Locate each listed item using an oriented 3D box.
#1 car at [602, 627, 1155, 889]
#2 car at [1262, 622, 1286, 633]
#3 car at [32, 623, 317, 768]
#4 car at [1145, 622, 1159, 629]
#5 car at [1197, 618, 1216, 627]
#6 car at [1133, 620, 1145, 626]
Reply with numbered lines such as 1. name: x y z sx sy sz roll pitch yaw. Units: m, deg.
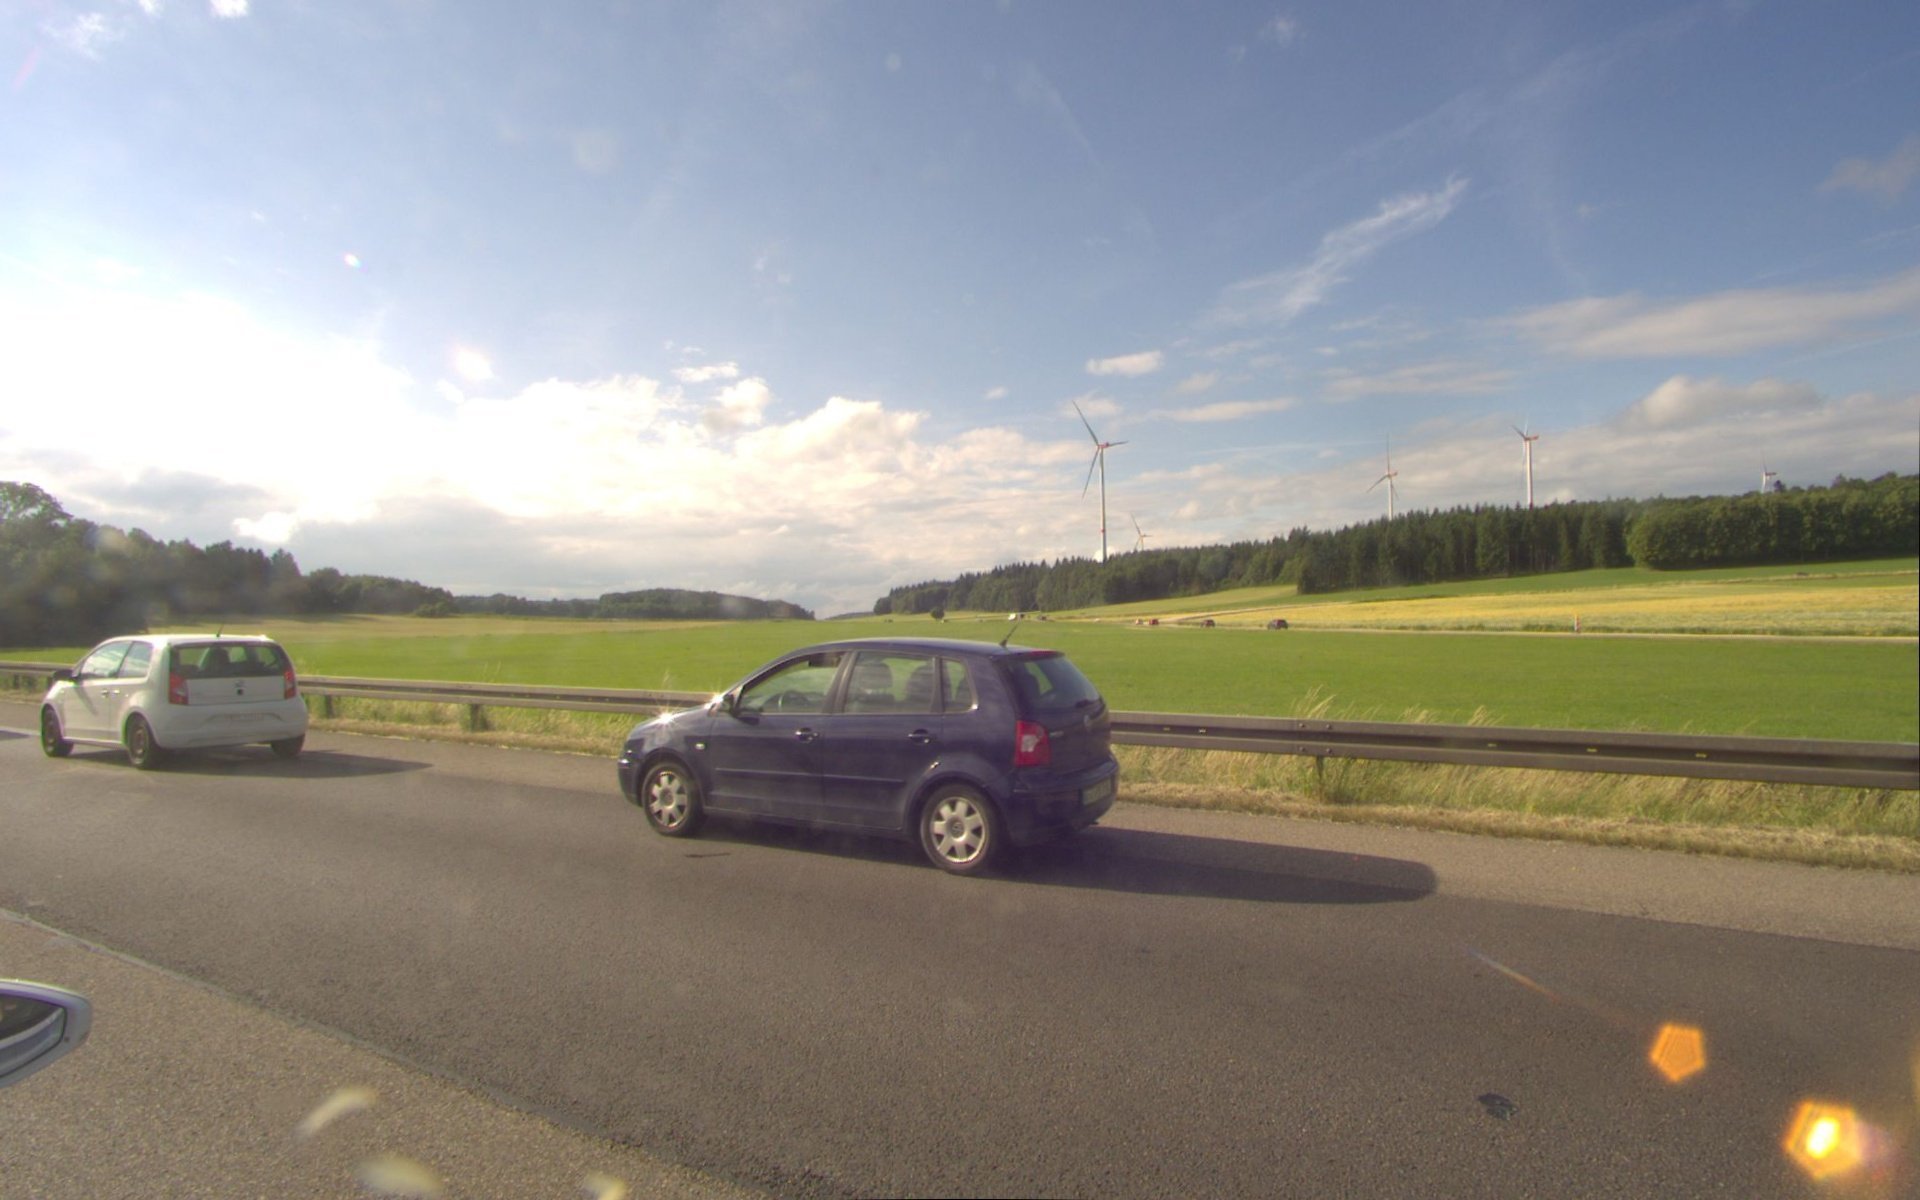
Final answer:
1. car: -0.645 0.952 7.298 3.718 1.464 1.708 -1 -2 30
2. car: 44.788 3.928 142.843 1.803 1.505 4.221 0 -2 -6
3. car: -9.506 1.054 12.090 3.326 1.514 1.547 0 -1 29
4. car: 42.671 5.621 222.519 1.803 1.505 4.221 0 -2 -6
5. car: 43.544 3.998 176.929 1.803 1.505 4.221 0 -2 -6
6. car: 44.673 5.782 249.802 1.803 1.505 4.288 0 -2 -6
